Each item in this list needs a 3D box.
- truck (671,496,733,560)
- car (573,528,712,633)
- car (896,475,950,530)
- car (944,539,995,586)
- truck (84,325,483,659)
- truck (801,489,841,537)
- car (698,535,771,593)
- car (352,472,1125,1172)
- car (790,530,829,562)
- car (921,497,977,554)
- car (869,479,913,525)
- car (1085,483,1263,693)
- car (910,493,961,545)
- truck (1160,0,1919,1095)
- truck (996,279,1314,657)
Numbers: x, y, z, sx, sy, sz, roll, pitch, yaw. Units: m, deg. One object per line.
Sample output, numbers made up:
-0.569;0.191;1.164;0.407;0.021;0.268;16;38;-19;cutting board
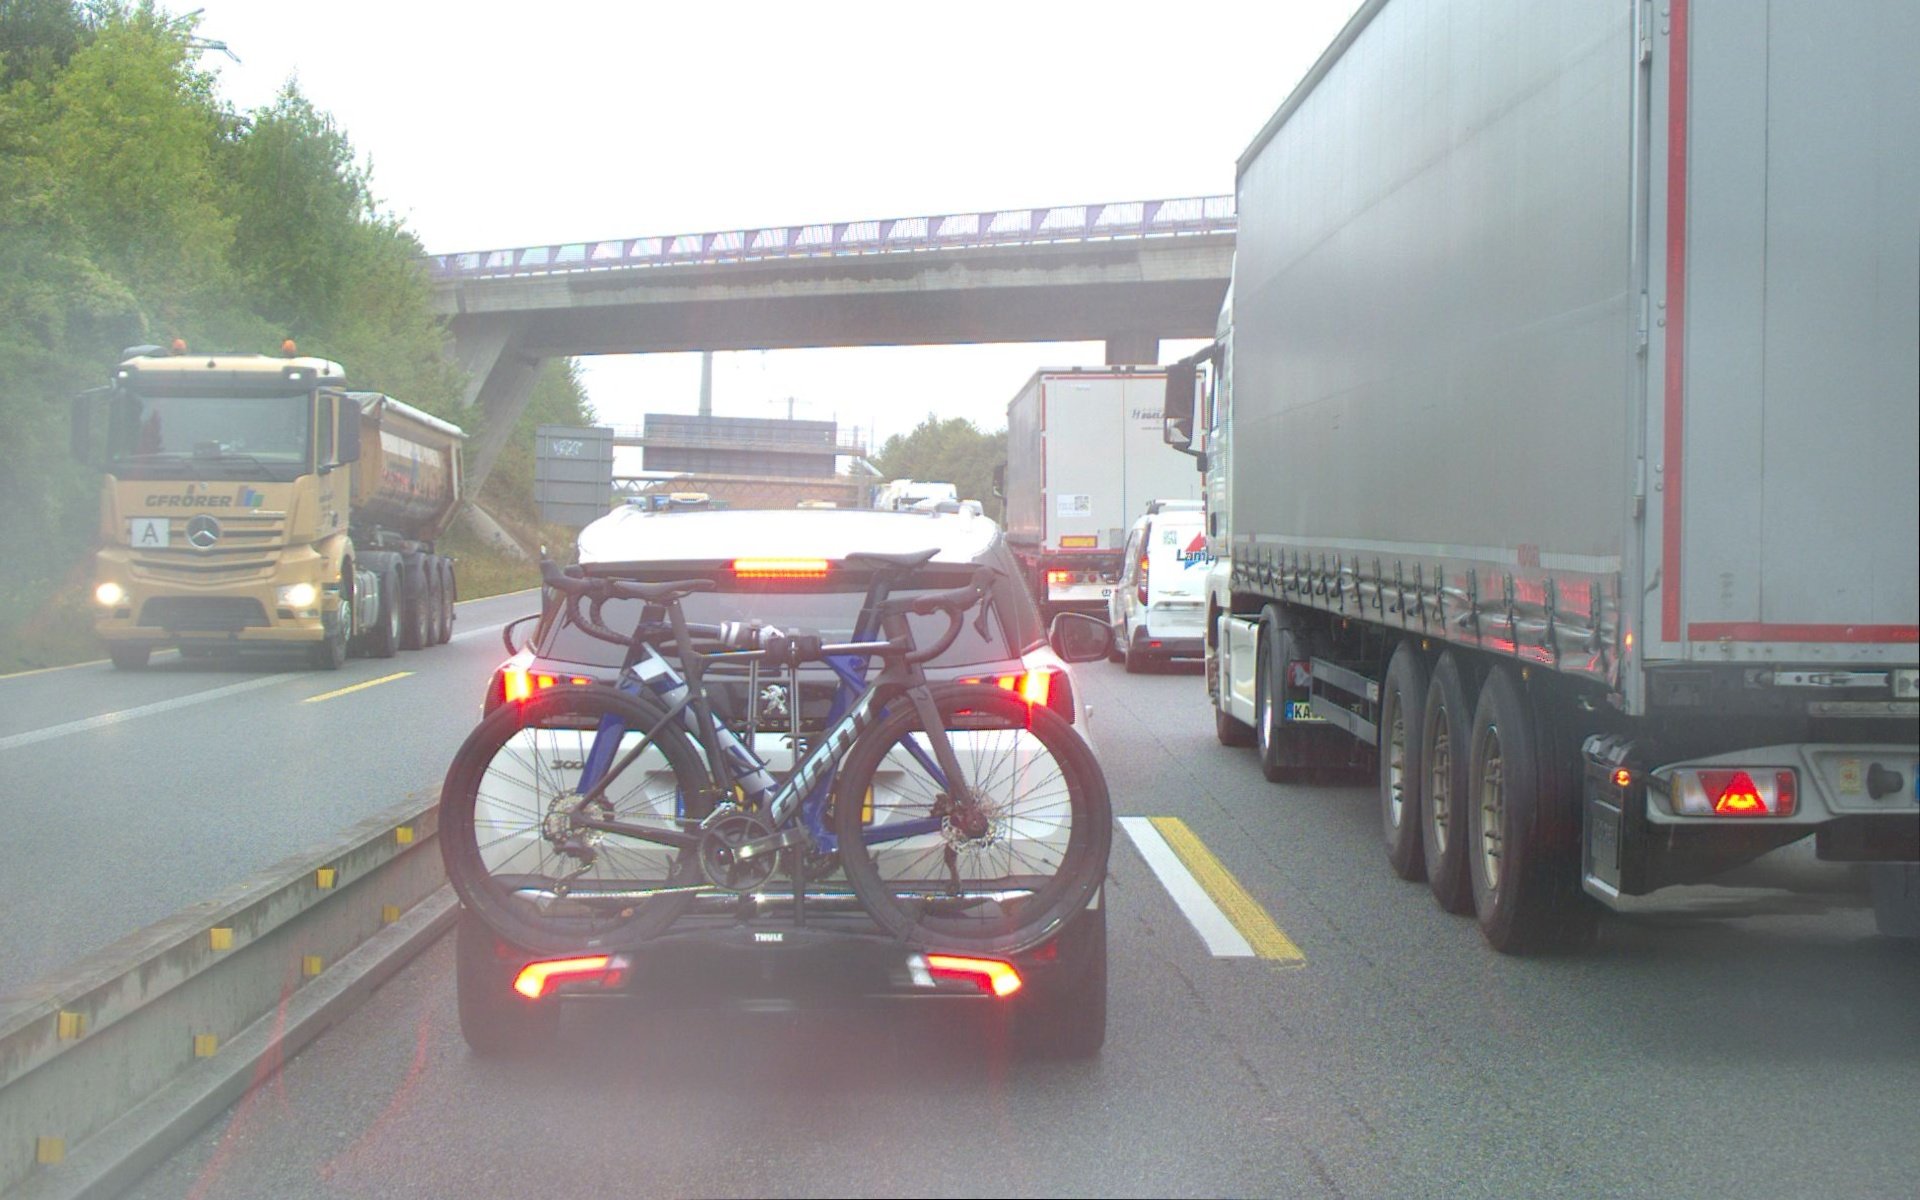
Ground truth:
-15.064;-4.183;201.714;2.681;3.644;12.312;1;1;0;truck
-4.420;-0.288;48.287;1.686;1.404;3.930;1;1;-2;car
-1.593;-4.211;149.562;2.239;2.299;4.572;1;1;0;car
0.314;-1.219;112.466;1.638;1.492;3.666;1;1;0;car
-7.663;-1.176;40.741;2.535;3.341;12.051;1;1;-1;truck
-9.936;-6.212;247.034;2.535;3.341;12.051;1;1;-1;truck
-6.190;-0.997;94.753;1.810;1.554;3.990;1;1;-1;car
-0.485;0.491;10.429;1.810;1.632;4.635;1;1;1;car
-6.728;-2.416;154.281;1.686;1.404;3.930;1;1;-2;car
-0.403;-2.707;125.657;1.993;2.007;4.000;1;1;0;car
-3.301;-4.683;165.148;1.993;2.119;4.527;1;1;0;car
2.320;-0.157;38.232;1.670;2.173;4.535;1;1;0;car
-0.960;-3.227;136.936;1.993;2.007;4.000;1;1;0;car
3.714;-1.699;18.875;3.979;5.654;20.377;1;1;0;truck
3.117;-2.140;62.208;4.743;5.654;20.376;1;1;1;truck
